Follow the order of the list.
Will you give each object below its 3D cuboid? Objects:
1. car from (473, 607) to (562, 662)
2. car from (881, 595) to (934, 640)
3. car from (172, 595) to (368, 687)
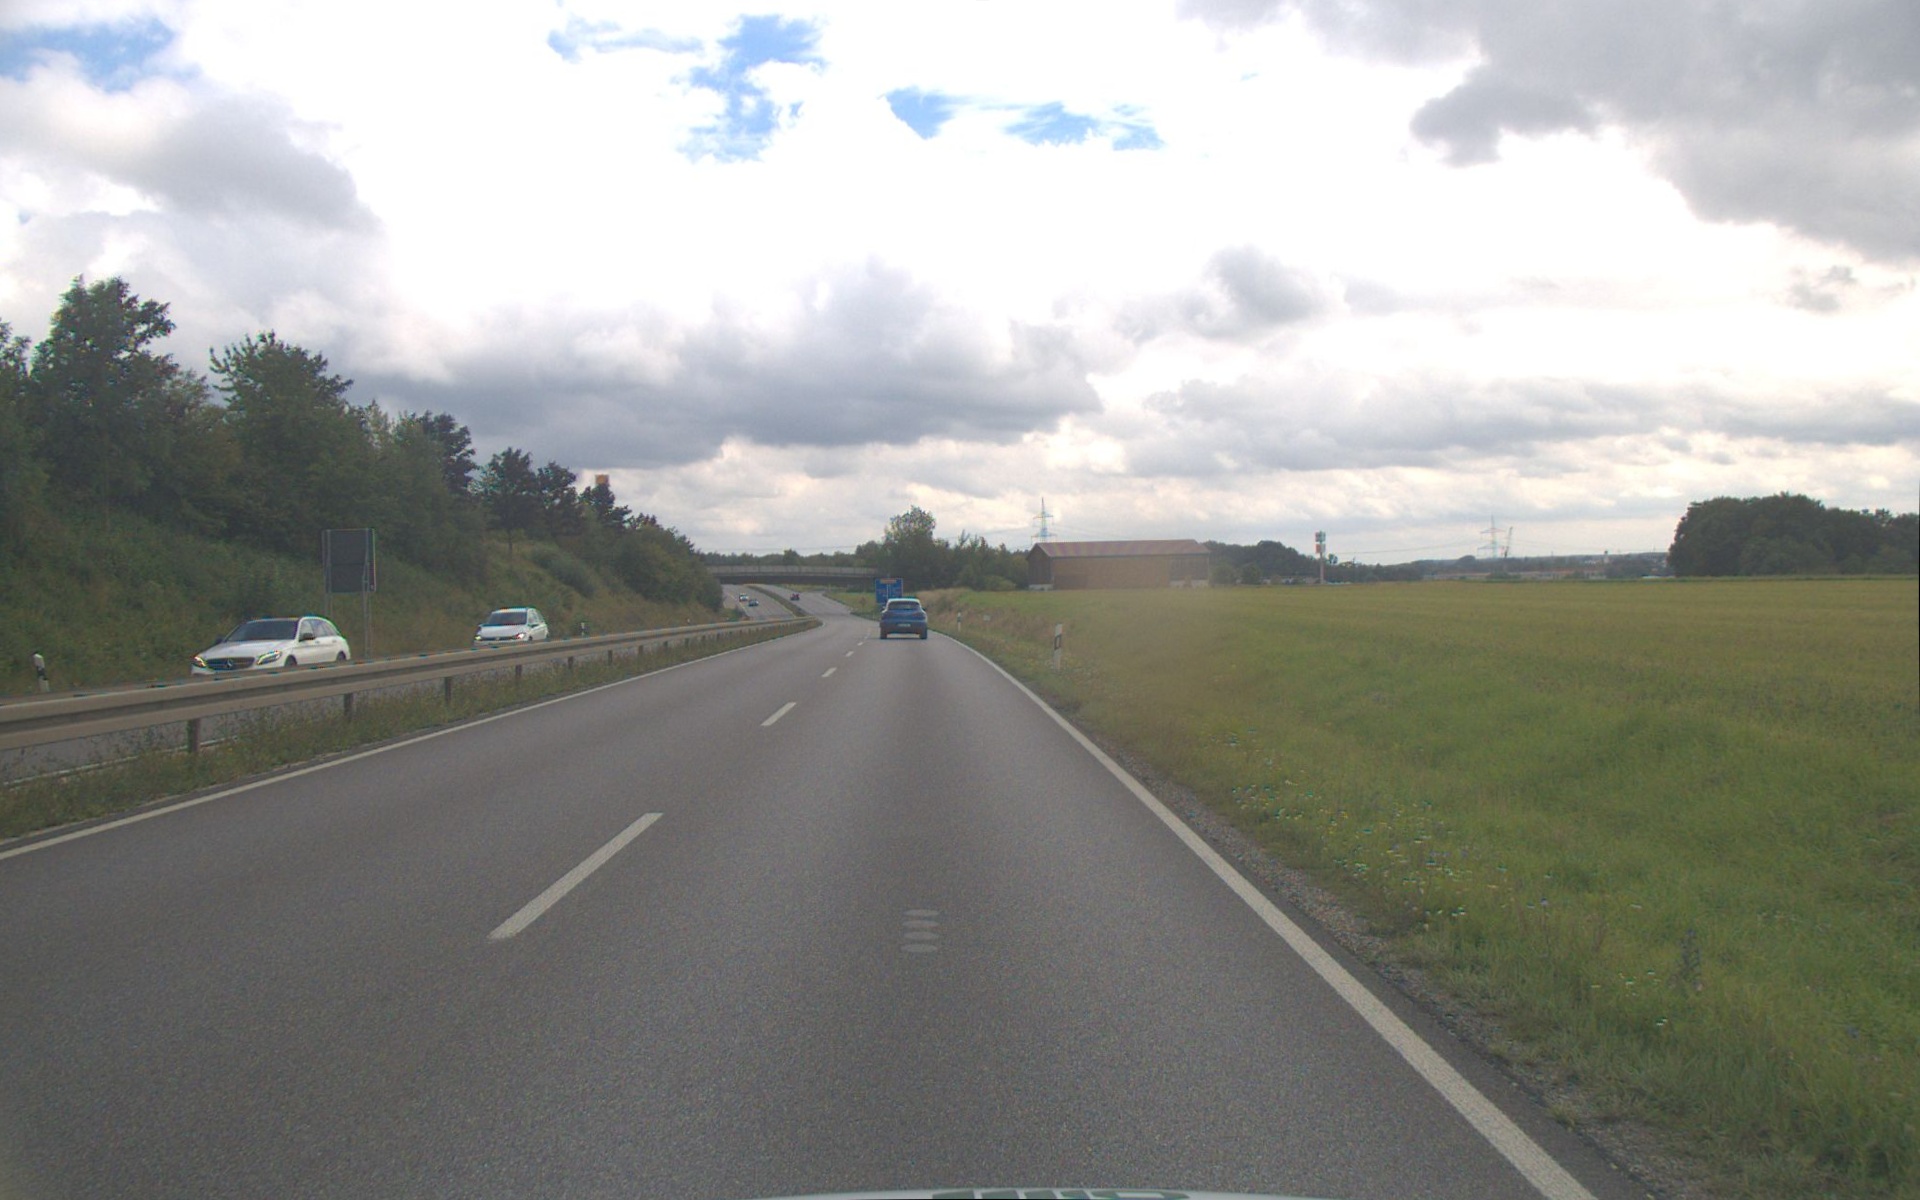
[{"bbox_3d":[-14.529,1.103,54.513,1.882,1.544,4.462,-1,2,-3],"label":"car"},{"bbox_3d":[-2.180,0.676,67.357,1.993,1.689,4.540,0,1,-4],"label":"car"},{"bbox_3d":[-13.845,0.755,33.560,1.953,1.544,4.987,-1,2,-2],"label":"car"}]
